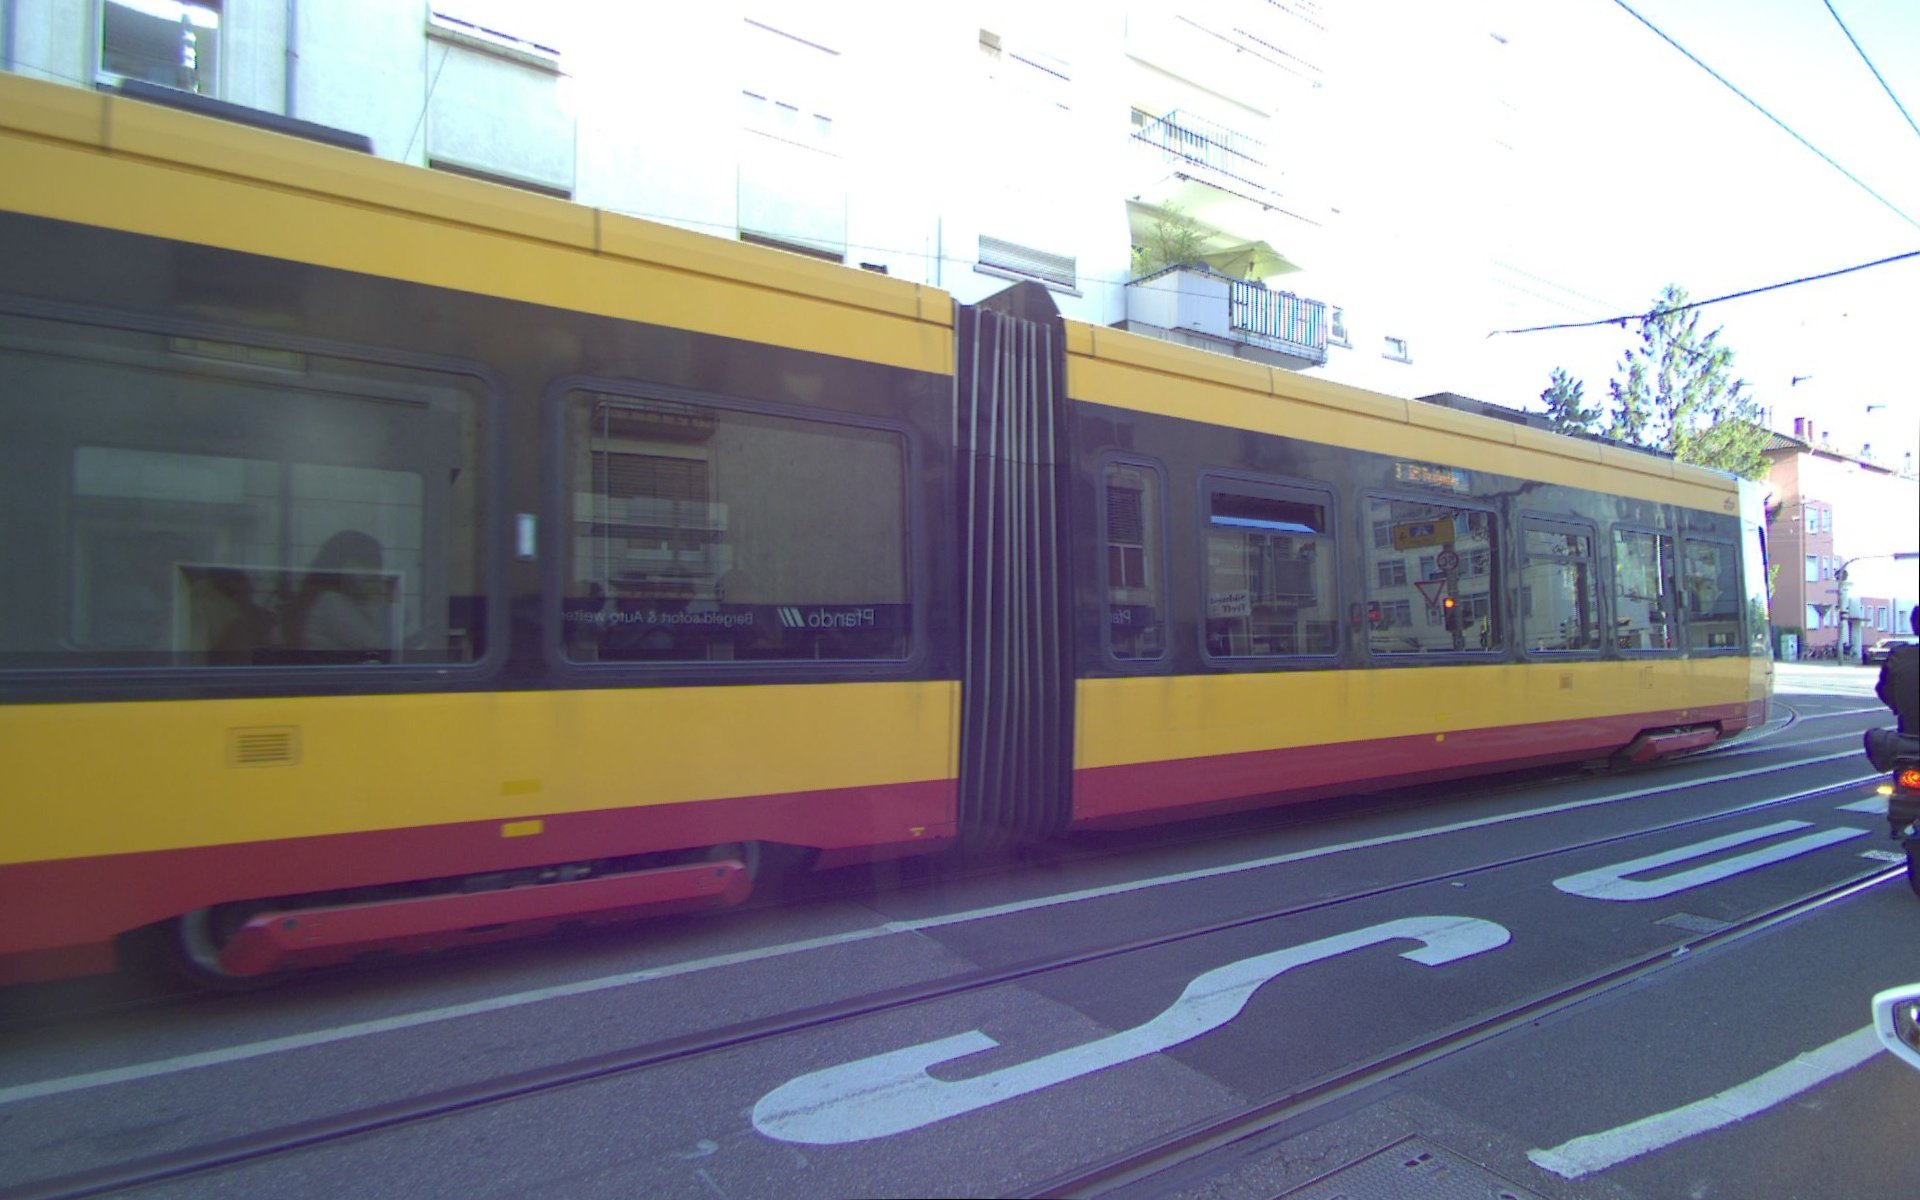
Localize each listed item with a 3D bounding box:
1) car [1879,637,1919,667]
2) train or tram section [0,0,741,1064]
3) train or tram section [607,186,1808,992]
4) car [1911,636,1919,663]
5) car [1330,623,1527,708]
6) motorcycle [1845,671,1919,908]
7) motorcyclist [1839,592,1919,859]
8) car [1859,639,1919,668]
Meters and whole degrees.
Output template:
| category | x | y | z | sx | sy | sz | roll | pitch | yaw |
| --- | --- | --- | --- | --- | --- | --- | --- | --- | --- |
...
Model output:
| category | x | y | z | sx | sy | sz | roll | pitch | yaw |
| --- | --- | --- | --- | --- | --- | --- | --- | --- | --- |
| car | 53.167 | 2.884 | 55.921 | 4.250 | 1.518 | 1.806 | 2 | 0 | -30 |
| train or tram section | -5.520 | -0.439 | 3.191 | 8.987 | 3.679 | 2.808 | 2 | 0 | -33 |
| train or tram section | 4.172 | 0.129 | 9.790 | 14.123 | 3.680 | 2.726 | 2 | 0 | -35 |
| car | 57.986 | 2.958 | 59.203 | 4.103 | 1.531 | 1.778 | 2 | 0 | -31 |
| car | 9.575 | 1.268 | 20.449 | 4.030 | 1.552 | 1.858 | 1 | -2 | -34 |
| motorcycle | 5.963 | 1.053 | 5.904 | 1.958 | 1.235 | 0.534 | 2 | 0 | -31 |
| motorcyclist | 5.787 | 0.725 | 5.834 | 0.591 | 1.525 | 0.856 | 2 | 0 | -30 |
| car | 49.697 | 2.837 | 53.394 | 3.949 | 1.440 | 1.784 | 2 | 0 | -31 |
